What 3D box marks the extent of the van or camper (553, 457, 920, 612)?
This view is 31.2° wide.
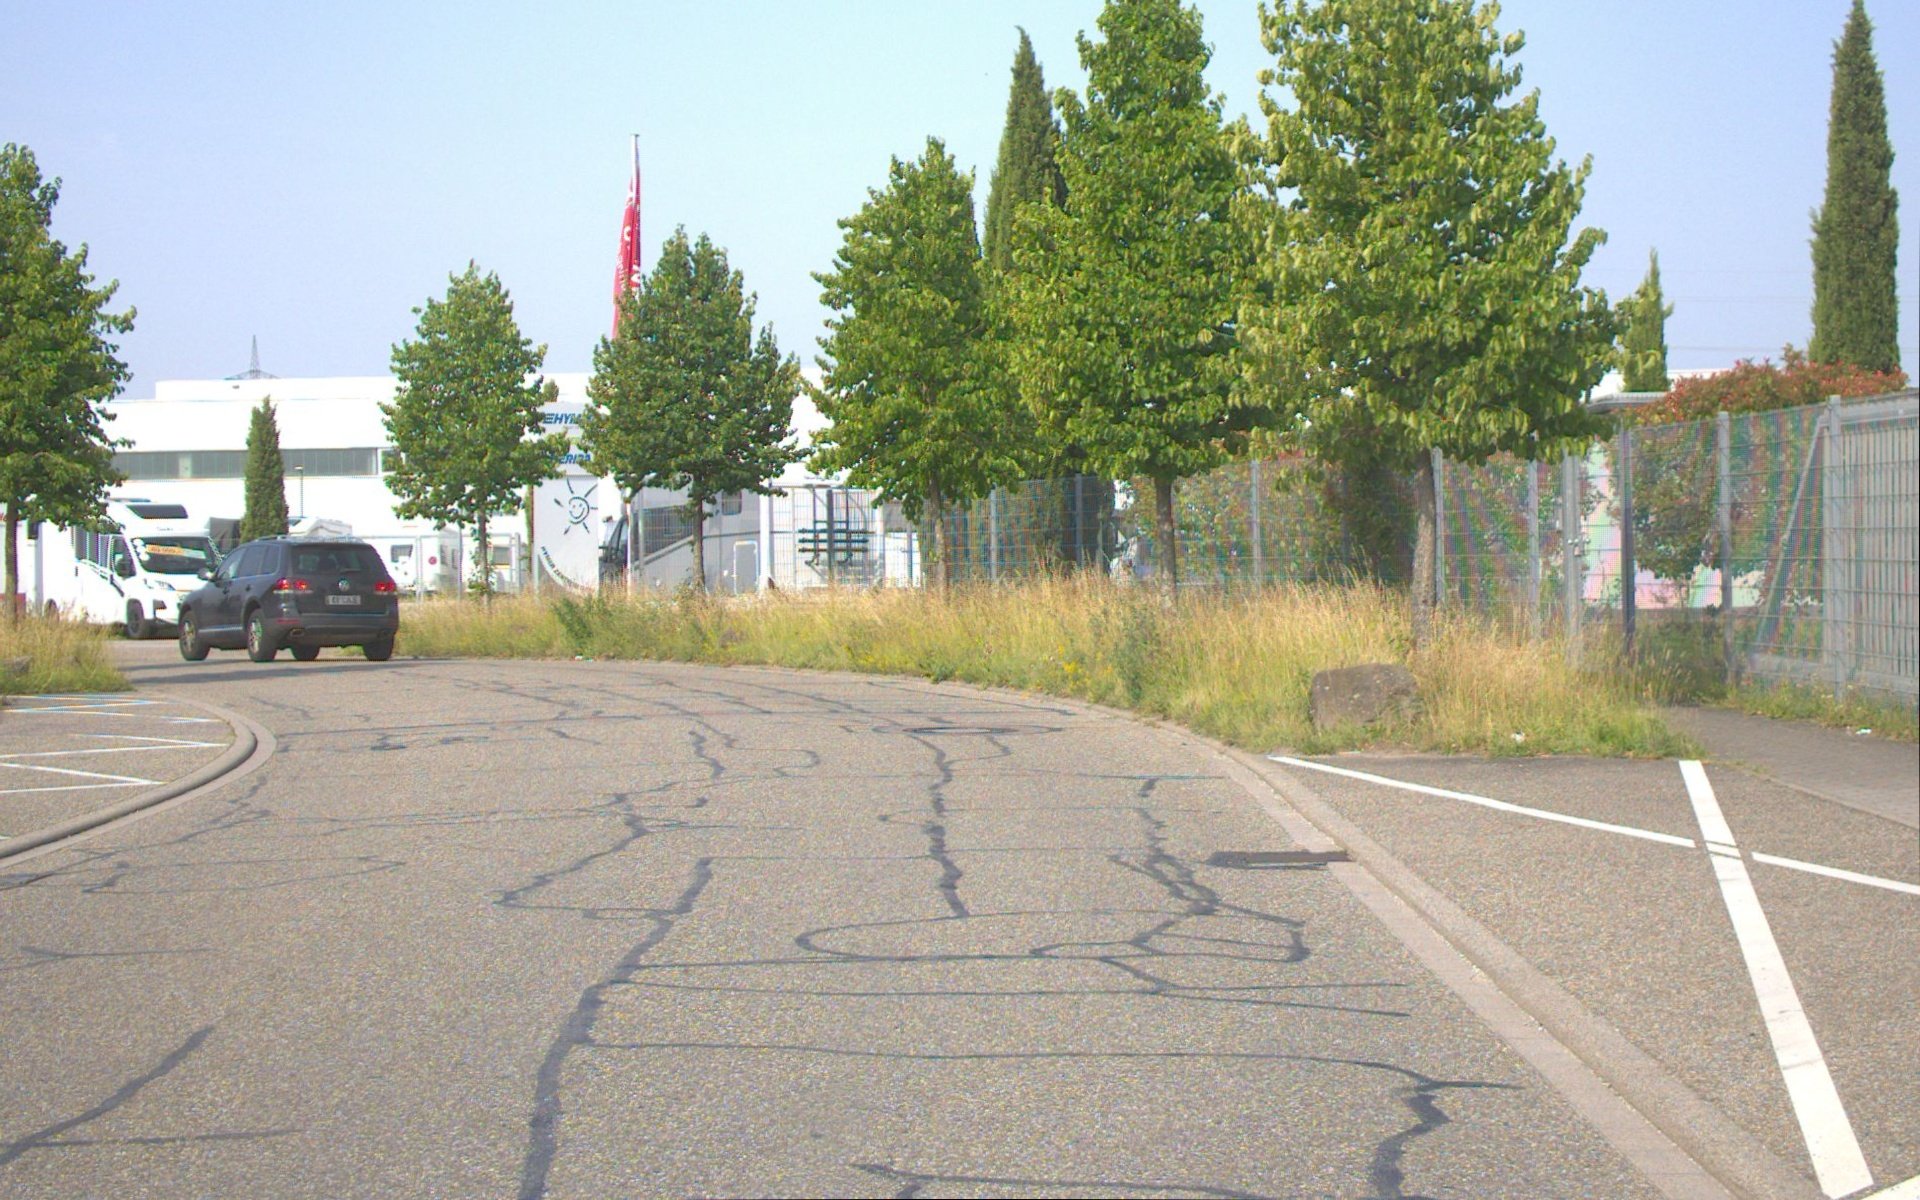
[{"bbox_3d":[-4.569,-1.325,69.753,7.257,3.021,2.586,-1,1,-6],"label":"van or camper"}]

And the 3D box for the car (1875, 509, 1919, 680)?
[{"bbox_3d":[8.614,-0.036,25.958,1.880,1.353,4.774,-1,1,-3],"label":"car"}]

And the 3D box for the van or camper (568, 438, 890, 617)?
[{"bbox_3d":[-4.028,-1.189,58.236,2.349,2.838,7.342,-1,1,-31],"label":"van or camper"}]

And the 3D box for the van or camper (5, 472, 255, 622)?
[{"bbox_3d":[-17.099,-1.090,70.522,2.331,2.933,6.969,-1,1,-37],"label":"van or camper"}]

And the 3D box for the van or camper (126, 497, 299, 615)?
[{"bbox_3d":[-16.976,-1.044,78.436,2.483,2.550,6.626,0,1,0],"label":"van or camper"}]

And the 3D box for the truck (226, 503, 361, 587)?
[{"bbox_3d":[-20.410,-1.696,105.640,2.450,2.462,8.002,0,1,1],"label":"truck"}]

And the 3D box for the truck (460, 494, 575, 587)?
[{"bbox_3d":[-13.874,-1.872,108.199,2.450,2.816,8.002,0,1,1],"label":"truck"}]

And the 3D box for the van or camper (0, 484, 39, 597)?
[{"bbox_3d":[-27.334,-1.606,93.244,2.662,3.073,6.795,0,1,2],"label":"van or camper"}]

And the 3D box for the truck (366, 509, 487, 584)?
[{"bbox_3d":[-16.727,-1.690,108.273,2.450,2.257,8.002,0,1,1],"label":"truck"}]

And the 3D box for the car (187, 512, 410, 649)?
[{"bbox_3d":[-9.183,-0.262,47.475,1.993,1.798,4.001,0,0,-27],"label":"car"}]
